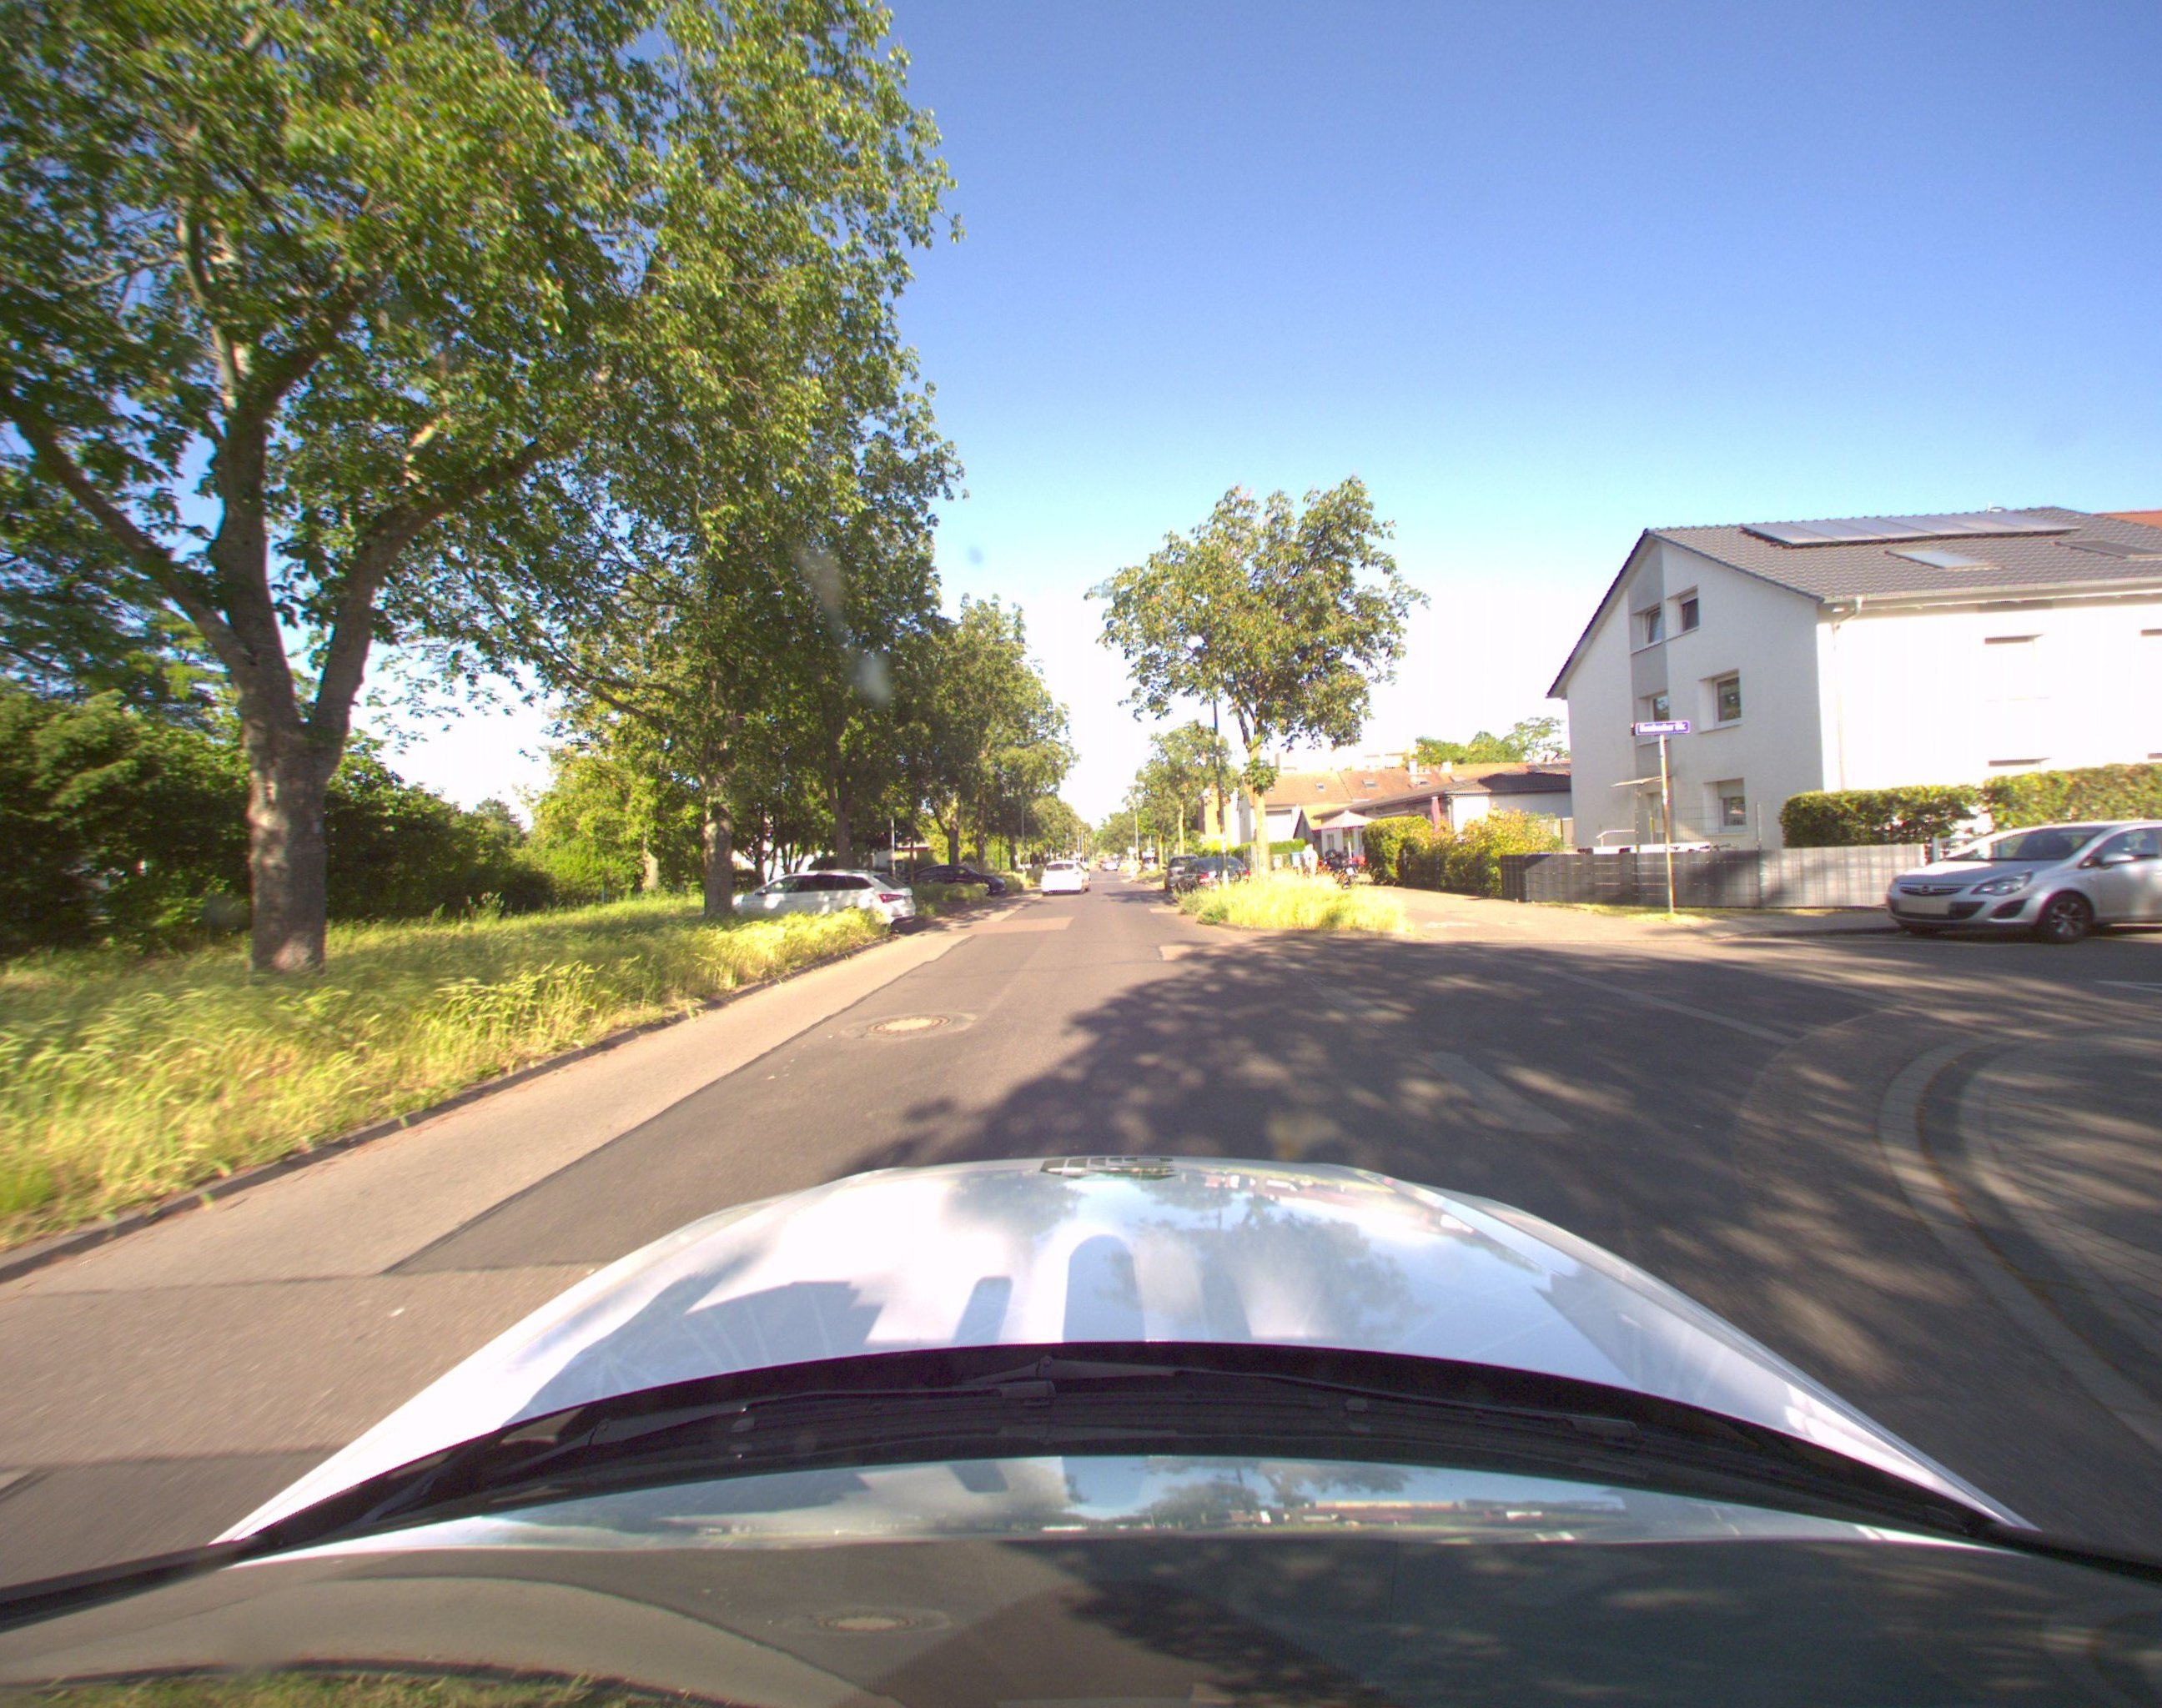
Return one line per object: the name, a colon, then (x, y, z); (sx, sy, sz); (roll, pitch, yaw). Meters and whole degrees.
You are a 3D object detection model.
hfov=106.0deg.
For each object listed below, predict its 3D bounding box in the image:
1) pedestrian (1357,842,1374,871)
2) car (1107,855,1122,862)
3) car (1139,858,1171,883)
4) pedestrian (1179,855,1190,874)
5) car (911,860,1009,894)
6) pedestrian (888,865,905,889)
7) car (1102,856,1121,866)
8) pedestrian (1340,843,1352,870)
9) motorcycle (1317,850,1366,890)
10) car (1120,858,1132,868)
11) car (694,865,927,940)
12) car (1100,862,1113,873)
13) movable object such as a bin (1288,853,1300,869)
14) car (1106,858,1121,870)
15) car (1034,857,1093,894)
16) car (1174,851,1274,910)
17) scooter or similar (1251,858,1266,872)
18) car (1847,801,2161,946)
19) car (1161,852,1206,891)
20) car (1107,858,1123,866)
pedestrian: (14.613, 0.120, 41.810); (0.655, 1.409, 0.496); (-4, -2, 30)
car: (9.241, 1.297, 224.247); (3.975, 1.750, 1.999); (-2, -1, -1)
car: (5.713, 1.276, 63.538); (1.988, 1.728, 3.998); (-4, -1, -1)
pedestrian: (11.670, 1.190, 91.948); (1.108, 2.013, 0.922); (-2, 0, 1)
car: (-5.669, 1.060, 38.568); (4.352, 1.531, 1.807); (0, -1, 0)
pedestrian: (-14.234, 1.768, 62.706); (1.227, 1.827, 1.543); (0, -1, -15)
car: (6.349, 1.570, 172.149); (3.974, 2.014, 2.000); (-1, -2, 0)
pedestrian: (13.572, 0.139, 41.725); (0.437, 1.385, 0.640); (-1, -1, 7)
motorcycle: (8.537, 0.499, 26.796); (0.815, 1.227, 2.352); (-3, 0, 1)
car: (7.151, 1.402, 130.169); (1.726, 1.508, 3.659); (1, -1, 2)
car: (-6.139, 1.084, 18.870); (4.652, 1.503, 2.001); (-2, 0, 3)
car: (3.815, 2.029, 120.436); (1.810, 1.508, 3.659); (1, -1, 2)
movable object such as a bin: (13.989, 0.459, 53.544); (0.491, 1.032, 0.747); (-5, -1, 0)
car: (4.257, 1.306, 106.607); (1.986, 1.508, 3.659); (1, -1, 2)
car: (-0.724, 0.911, 36.440); (1.983, 1.455, 4.233); (-2, 0, 7)
car: (4.225, 0.755, 24.775); (1.990, 1.622, 4.375); (1, -1, -4)
scooter or similar: (11.260, 0.704, 51.657); (0.368, 0.858, 1.406); (-2, 0, -12)
car: (12.773, 0.191, 10.665); (3.980, 1.640, 1.773); (-2, 0, -5)
car: (4.535, 0.766, 36.600); (1.604, 1.622, 4.383); (1, -1, 2)
car: (8.972, 2.190, 213.962); (3.974, 2.014, 2.000); (-2, -1, 0)
